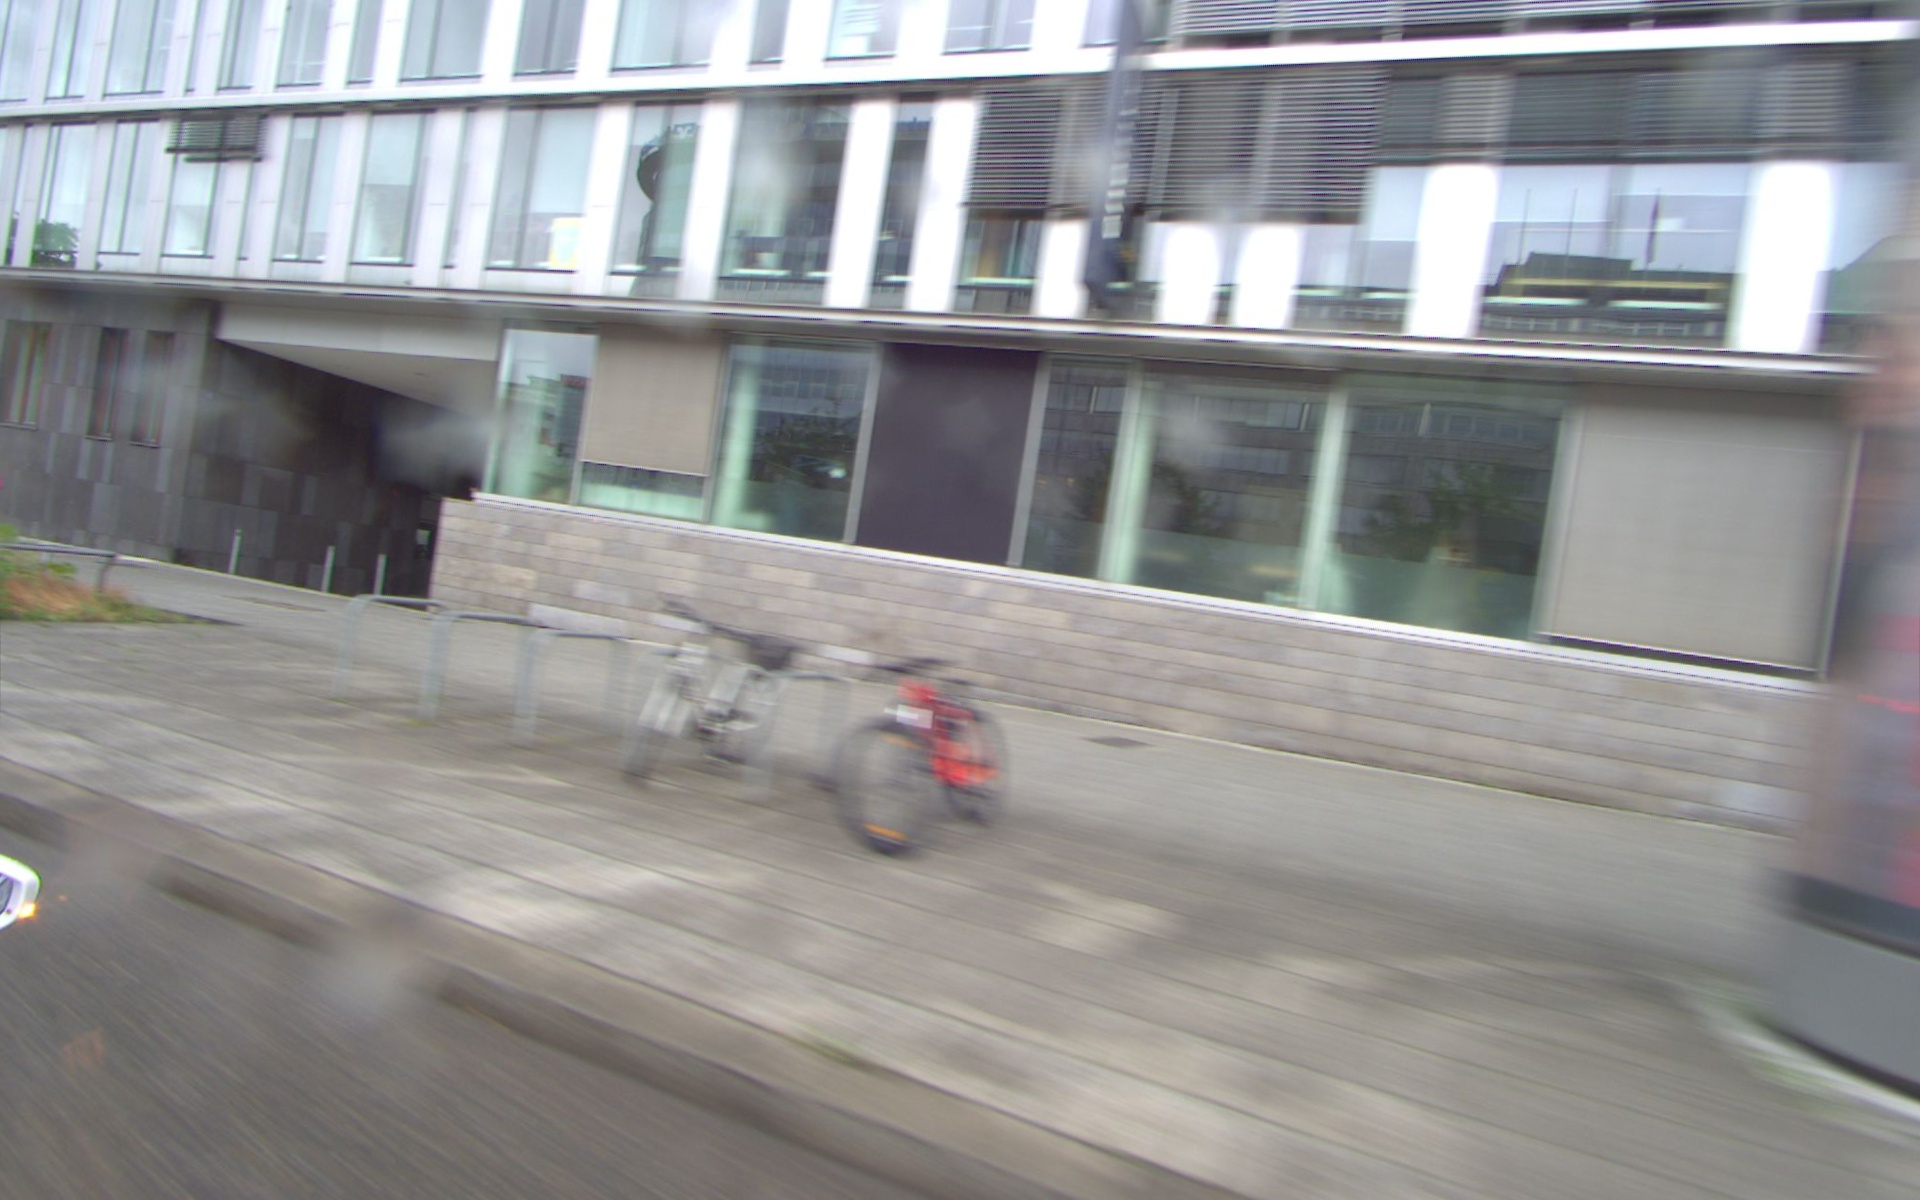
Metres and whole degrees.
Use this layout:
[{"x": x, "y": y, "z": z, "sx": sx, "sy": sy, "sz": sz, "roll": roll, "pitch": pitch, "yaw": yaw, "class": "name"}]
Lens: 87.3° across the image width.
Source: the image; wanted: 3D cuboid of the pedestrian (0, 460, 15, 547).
[{"x": -19.721, "y": -1.995, "z": 20.105, "sx": 1.079, "sy": 1.712, "sz": 0.719, "roll": 8, "pitch": 2, "yaw": 20, "class": "pedestrian"}]

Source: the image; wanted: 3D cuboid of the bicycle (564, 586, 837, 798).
[{"x": -1.719, "y": 0.608, "z": 7.001, "sx": 0.649, "sy": 1.212, "sz": 1.839, "roll": 8, "pitch": 0, "yaw": 28, "class": "bicycle"}]

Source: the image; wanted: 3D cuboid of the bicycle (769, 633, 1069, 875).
[{"x": -0.148, "y": 0.847, "z": 6.102, "sx": 0.794, "sy": 1.117, "sz": 1.987, "roll": 8, "pitch": 0, "yaw": 28, "class": "bicycle"}]
